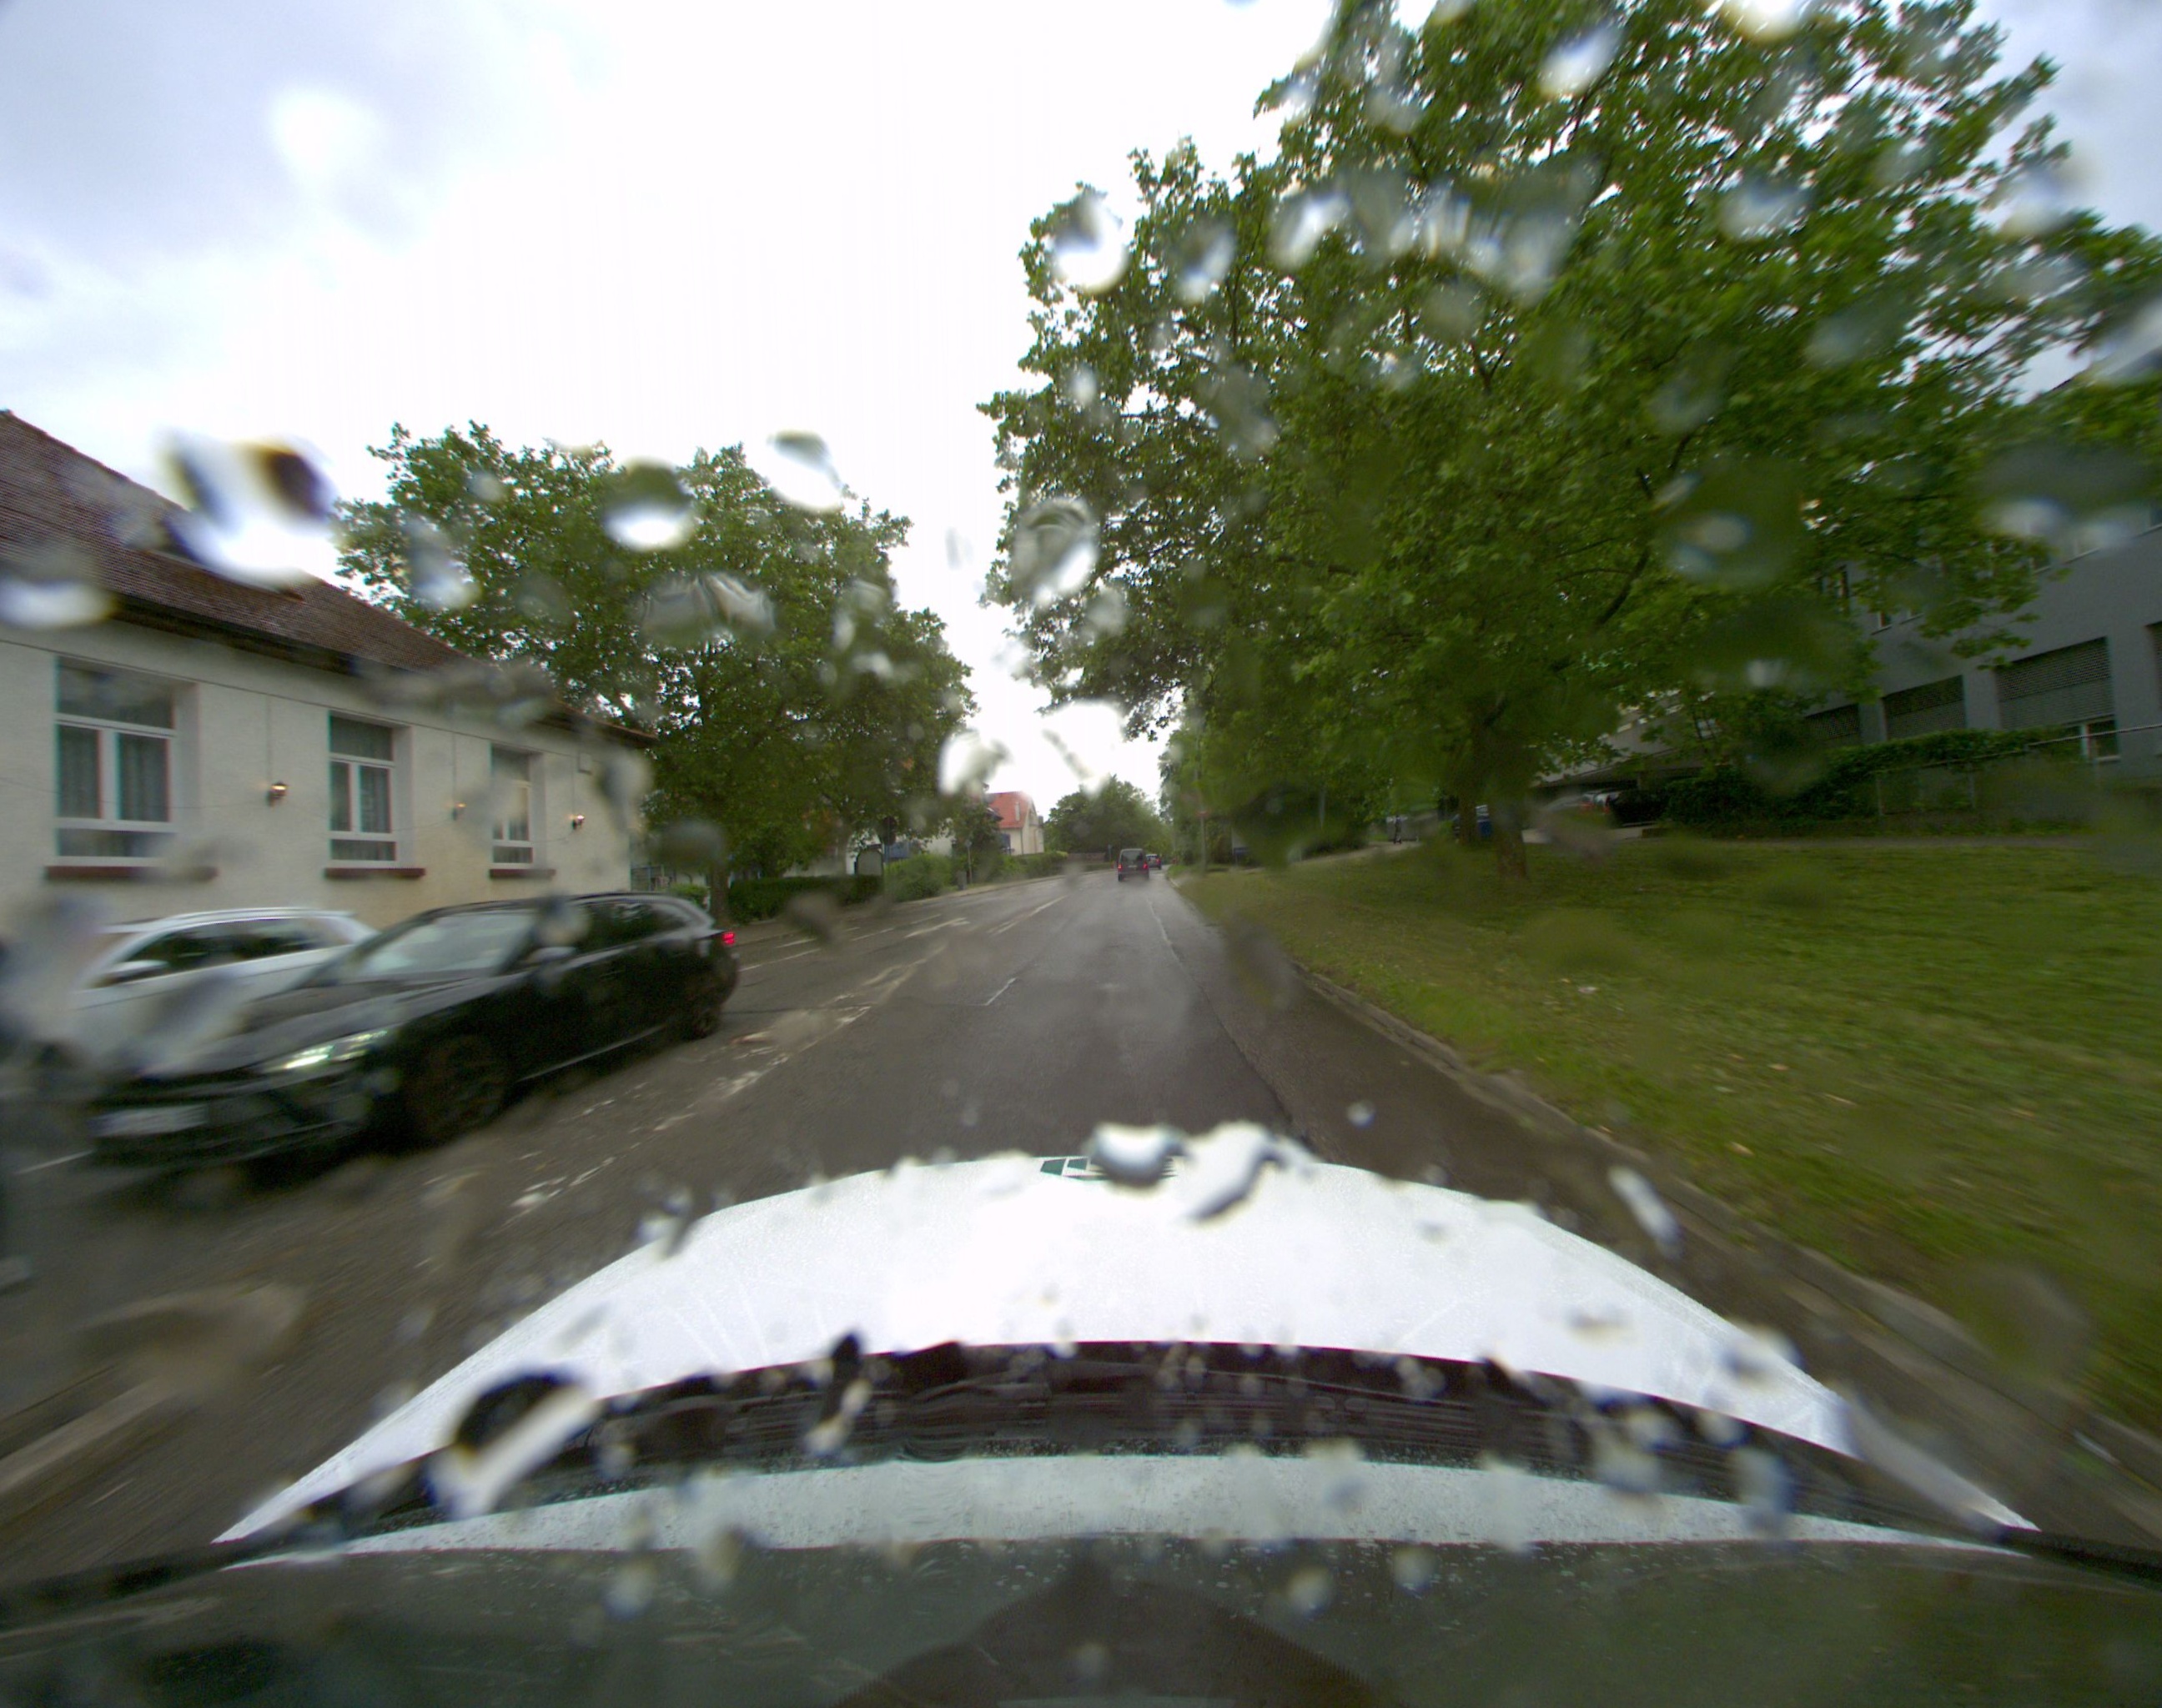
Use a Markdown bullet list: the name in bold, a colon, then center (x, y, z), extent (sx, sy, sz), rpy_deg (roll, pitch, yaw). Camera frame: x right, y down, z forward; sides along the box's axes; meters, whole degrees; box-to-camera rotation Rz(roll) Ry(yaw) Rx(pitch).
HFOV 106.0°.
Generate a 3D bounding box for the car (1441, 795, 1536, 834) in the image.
- **car**: center (21.749, -2.089, 43.545), extent (3.978, 1.750, 1.998), rpy_deg (-4, 0, -3)

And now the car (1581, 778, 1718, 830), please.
- **car**: center (22.625, -1.949, 32.572), extent (3.961, 1.640, 2.006), rpy_deg (-4, 0, 11)

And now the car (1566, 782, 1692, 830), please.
- **car**: center (23.392, -2.040, 34.922), extent (3.964, 1.662, 1.964), rpy_deg (-4, 0, 8)

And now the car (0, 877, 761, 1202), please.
- **car**: center (-4.632, 1.054, 6.473), extent (1.984, 1.429, 4.395), rpy_deg (-4, 0, 6)

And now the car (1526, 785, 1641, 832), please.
- **car**: center (22.964, -2.056, 37.341), extent (3.961, 1.750, 2.006), rpy_deg (-4, 0, 11)

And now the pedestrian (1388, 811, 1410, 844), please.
- **pedestrian**: center (17.941, -1.500, 45.991), extent (0.663, 1.750, 0.846), rpy_deg (-4, 0, -14)

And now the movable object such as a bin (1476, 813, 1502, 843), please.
- **movable object such as a bin**: center (16.159, -1.026, 32.238), extent (0.666, 1.120, 0.662), rpy_deg (-1, -1, -1)

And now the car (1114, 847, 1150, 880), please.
- **car**: center (2.977, 0.516, 47.715), extent (1.985, 1.794, 4.003), rpy_deg (-2, 0, 3)

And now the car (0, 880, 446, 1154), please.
- **car**: center (-8.140, 1.262, 6.892), extent (1.984, 1.683, 4.007), rpy_deg (-7, 0, 6)

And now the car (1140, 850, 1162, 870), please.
- **car**: center (6.865, 0.588, 79.080), extent (1.940, 1.749, 4.007), rpy_deg (-4, 0, 6)

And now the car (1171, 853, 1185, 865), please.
- **car**: center (15.164, 0.818, 127.593), extent (1.984, 1.750, 4.004), rpy_deg (-1, 0, 4)
